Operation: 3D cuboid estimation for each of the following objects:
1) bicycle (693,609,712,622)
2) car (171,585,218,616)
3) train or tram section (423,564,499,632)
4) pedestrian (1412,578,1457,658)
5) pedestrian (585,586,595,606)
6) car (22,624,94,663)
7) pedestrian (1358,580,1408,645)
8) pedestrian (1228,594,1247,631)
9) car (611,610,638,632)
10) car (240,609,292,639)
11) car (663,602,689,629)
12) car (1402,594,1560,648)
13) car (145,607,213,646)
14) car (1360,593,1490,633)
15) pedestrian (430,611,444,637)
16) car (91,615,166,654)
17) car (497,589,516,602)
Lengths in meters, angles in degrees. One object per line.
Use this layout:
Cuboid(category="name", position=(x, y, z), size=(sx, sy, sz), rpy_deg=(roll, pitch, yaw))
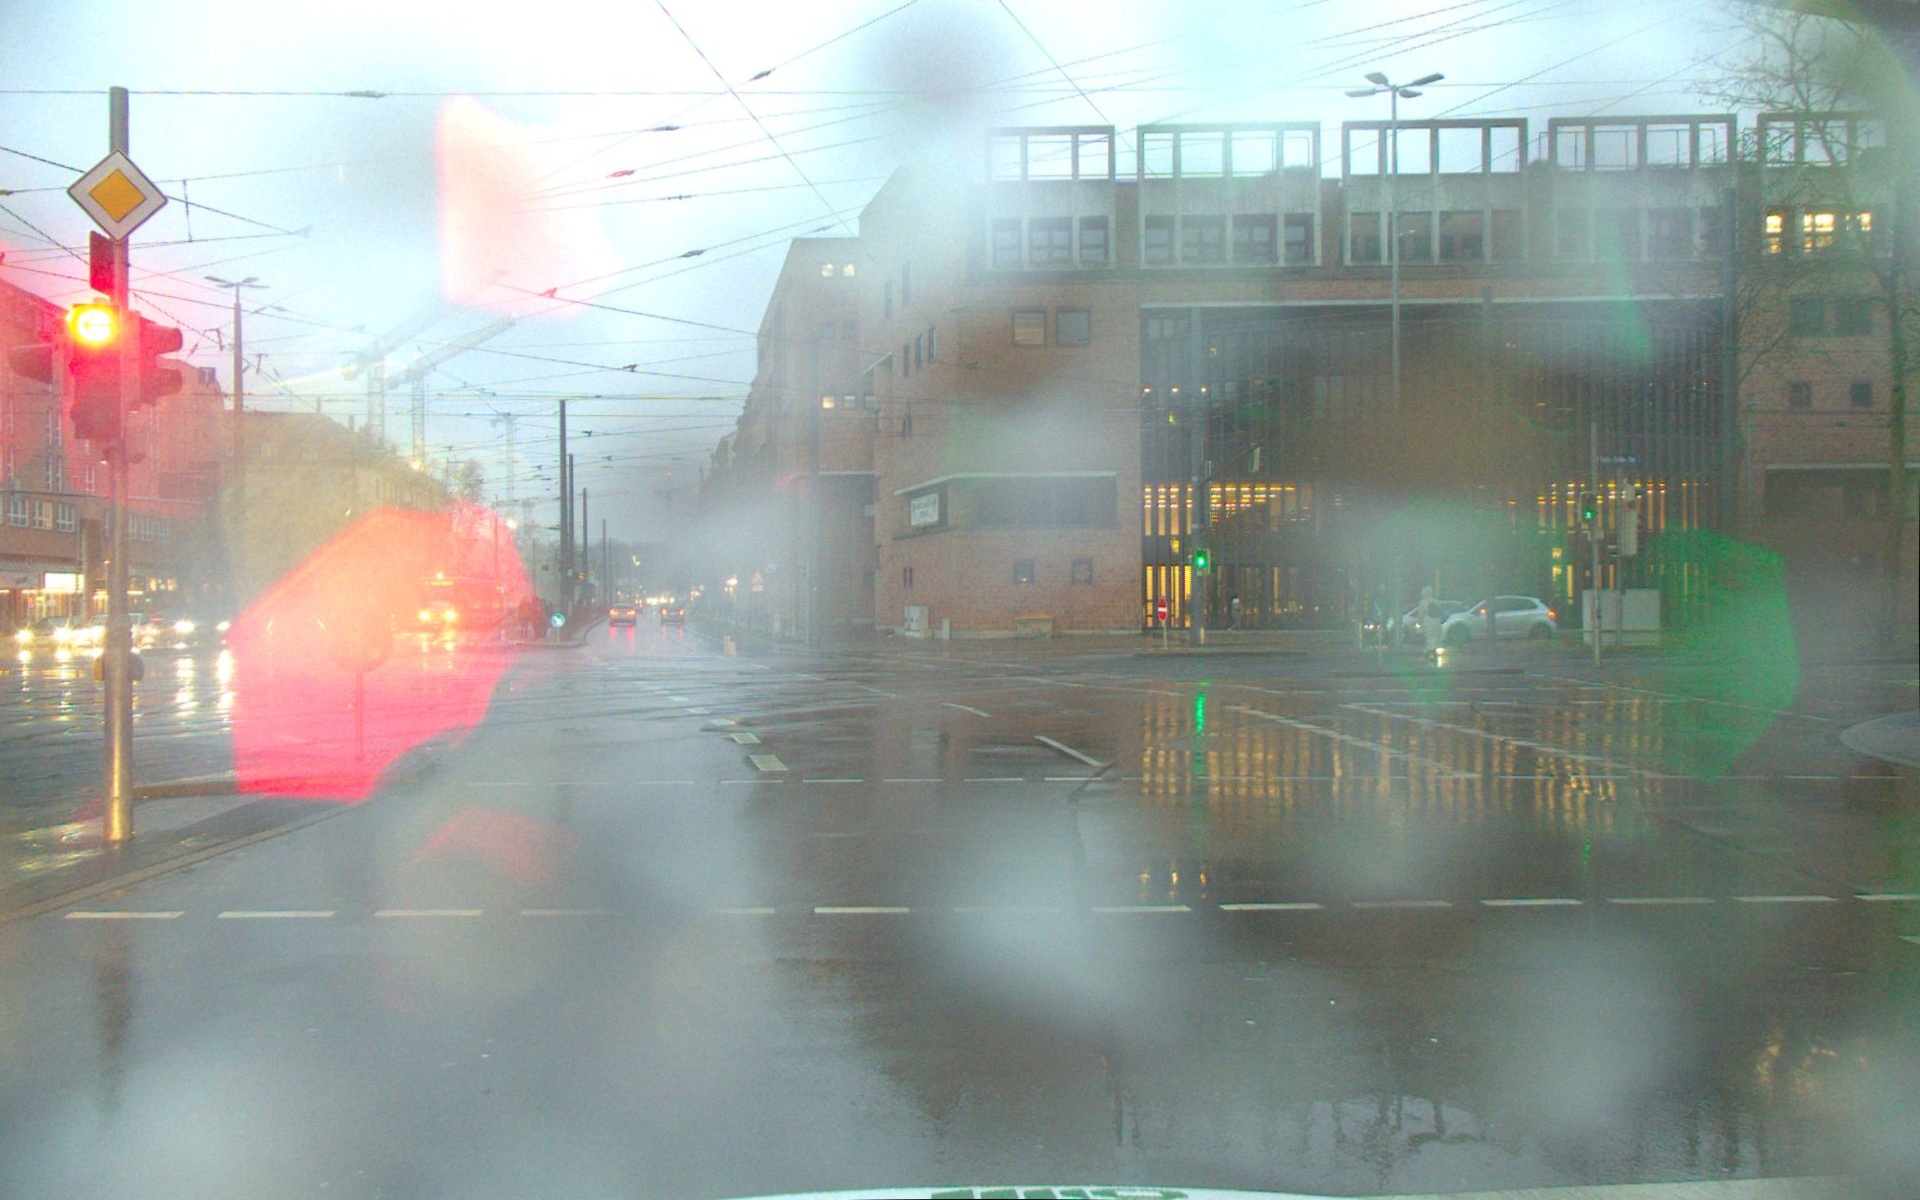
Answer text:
Cuboid(category="bicycle", position=(-23.664, 1.409, 152.161), size=(1.700, 1.073, 0.370), rpy_deg=(-2, 0, -13))
Cuboid(category="car", position=(-52.289, 0.045, 112.985), size=(1.958, 2.049, 3.989), rpy_deg=(1, 0, -11))
Cuboid(category="train or tram section", position=(-29.065, -0.101, 96.805), size=(2.897, 3.652, 12.223), rpy_deg=(1, 0, -10))
Cuboid(category="pedestrian", position=(11.054, 0.410, 38.528), size=(0.721, 1.818, 0.732), rpy_deg=(-1, 0, -14))
Cuboid(category="pedestrian", position=(-28.554, -0.278, 127.621), size=(0.671, 1.542, 0.614), rpy_deg=(0, 0, -24))
Cuboid(category="car", position=(-37.990, 1.806, 69.746), size=(1.553, 1.521, 3.587), rpy_deg=(-1, 0, -10))
Cuboid(category="pedestrian", position=(11.922, 0.343, 46.664), size=(1.128, 1.818, 0.775), rpy_deg=(-1, 0, -10))
Cuboid(category="pedestrian", position=(10.668, 0.473, 63.531), size=(0.721, 1.413, 0.738), rpy_deg=(-1, 0, 10))
Cuboid(category="car", position=(-23.678, 1.481, 116.832), size=(1.751, 1.492, 3.142), rpy_deg=(-1, 0, -9))
Cuboid(category="car", position=(-33.413, 1.142, 79.746), size=(1.652, 1.378, 3.535), rpy_deg=(1, 0, -12))
Cuboid(category="car", position=(-22.186, 1.214, 129.206), size=(1.957, 2.049, 3.991), rpy_deg=(-1, 0, -9))
Cuboid(category="car", position=(14.971, 0.583, 47.634), size=(3.907, 1.364, 1.811), rpy_deg=(-2, 0, -9))
Cuboid(category="car", position=(-36.524, 1.196, 77.435), size=(1.796, 1.739, 4.692), rpy_deg=(0, 0, -11))
Cuboid(category="car", position=(15.948, 0.439, 56.797), size=(3.908, 1.333, 1.810), rpy_deg=(0, 0, -9))
Cuboid(category="pedestrian", position=(-24.445, 1.116, 77.312), size=(0.569, 1.173, 0.489), rpy_deg=(1, -1, -10))
Cuboid(category="car", position=(-35.134, 1.432, 69.982), size=(1.638, 1.521, 4.191), rpy_deg=(-1, 0, -10))
Cuboid(category="car", position=(-48.102, -0.489, 175.499), size=(1.652, 1.378, 3.535), rpy_deg=(1, 0, -12))
